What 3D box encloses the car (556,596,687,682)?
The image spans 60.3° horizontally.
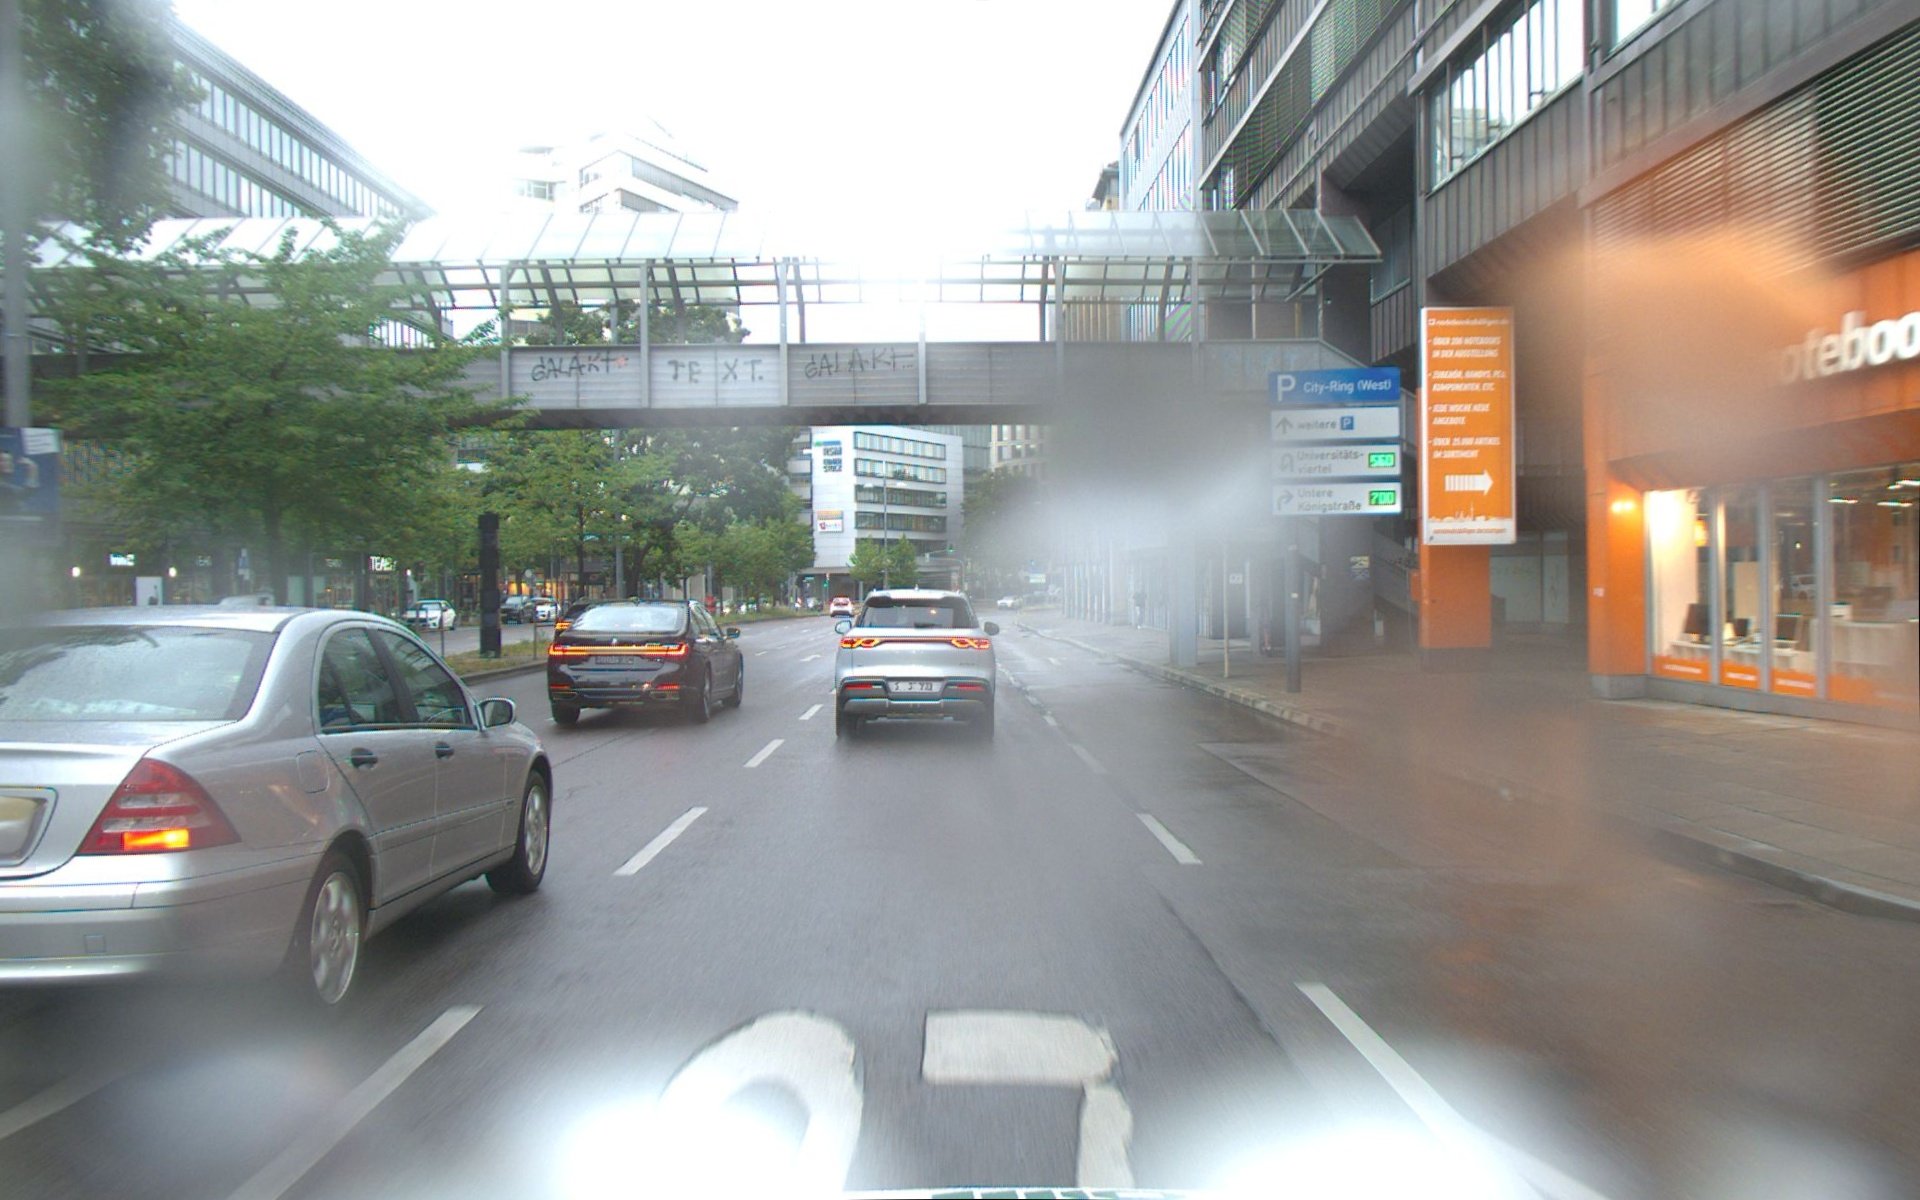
[{"bbox_3d":[-6.267,0.713,31.001,1.738,1.482,3.998,-1,-1,-2],"label":"car"}]

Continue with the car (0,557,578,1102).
[{"bbox_3d":[-2.900,0.664,6.762,1.638,1.505,4.360,0,-1,0],"label":"car"}]

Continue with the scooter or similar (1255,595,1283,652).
[{"bbox_3d":[7.133,0.537,38.194,0.342,1.278,1.394,0,0,-1],"label":"scooter or similar"}]

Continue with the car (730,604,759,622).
[{"bbox_3d":[-18.870,1.144,144.827,1.589,1.518,4.309,-1,-1,6],"label":"car"}]

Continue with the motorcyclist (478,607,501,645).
[{"bbox_3d":[-18.476,1.022,64.986,0.625,1.443,0.970,-1,-1,-1],"label":"motorcyclist"}]

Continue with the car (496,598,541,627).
[{"bbox_3d":[-25.278,0.705,94.794,1.591,1.639,4.230,1,0,-3],"label":"car"}]

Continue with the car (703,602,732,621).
[{"bbox_3d":[-17.180,0.837,117.228,1.590,1.334,3.617,-1,-1,-1],"label":"car"}]

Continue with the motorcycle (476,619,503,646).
[{"bbox_3d":[-18.471,1.270,64.958,0.572,1.039,1.805,-1,0,-1],"label":"motorcycle"}]

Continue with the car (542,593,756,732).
[{"bbox_3d":[-3.856,0.701,21.352,1.834,1.504,4.878,0,1,0],"label":"car"}]

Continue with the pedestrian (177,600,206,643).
[{"bbox_3d":[-31.473,0.879,67.733,0.728,1.745,1.056,-1,0,-2],"label":"pedestrian"}]

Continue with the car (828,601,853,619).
[{"bbox_3d":[-9.373,0.757,129.886,1.619,1.365,4.000,0,0,1],"label":"car"}]

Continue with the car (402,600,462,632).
[{"bbox_3d":[-24.852,0.763,77.968,1.591,1.458,4.443,-1,-1,-3],"label":"car"}]

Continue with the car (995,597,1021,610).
[{"bbox_3d":[5.842,0.421,200.784,1.551,1.565,3.993,0,0,29],"label":"car"}]

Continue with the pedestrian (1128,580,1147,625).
[{"bbox_3d":[7.310,0.112,68.129,0.622,1.803,0.789,-1,-1,-1],"label":"pedestrian"}]

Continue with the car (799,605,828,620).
[{"bbox_3d":[-14.345,1.223,161.943,1.589,1.478,4.165,-1,-1,14],"label":"car"}]

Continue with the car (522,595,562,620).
[{"bbox_3d":[-25.471,0.465,100.927,1.591,1.486,3.961,1,0,-3],"label":"car"}]

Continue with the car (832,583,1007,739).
[{"bbox_3d":[-0.464,0.659,19.582,1.862,1.650,3.999,0,0,-1],"label":"car"}]

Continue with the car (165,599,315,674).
[{"bbox_3d":[-19.646,0.946,45.392,1.961,1.799,5.182,-4,0,-3],"label":"car"}]
